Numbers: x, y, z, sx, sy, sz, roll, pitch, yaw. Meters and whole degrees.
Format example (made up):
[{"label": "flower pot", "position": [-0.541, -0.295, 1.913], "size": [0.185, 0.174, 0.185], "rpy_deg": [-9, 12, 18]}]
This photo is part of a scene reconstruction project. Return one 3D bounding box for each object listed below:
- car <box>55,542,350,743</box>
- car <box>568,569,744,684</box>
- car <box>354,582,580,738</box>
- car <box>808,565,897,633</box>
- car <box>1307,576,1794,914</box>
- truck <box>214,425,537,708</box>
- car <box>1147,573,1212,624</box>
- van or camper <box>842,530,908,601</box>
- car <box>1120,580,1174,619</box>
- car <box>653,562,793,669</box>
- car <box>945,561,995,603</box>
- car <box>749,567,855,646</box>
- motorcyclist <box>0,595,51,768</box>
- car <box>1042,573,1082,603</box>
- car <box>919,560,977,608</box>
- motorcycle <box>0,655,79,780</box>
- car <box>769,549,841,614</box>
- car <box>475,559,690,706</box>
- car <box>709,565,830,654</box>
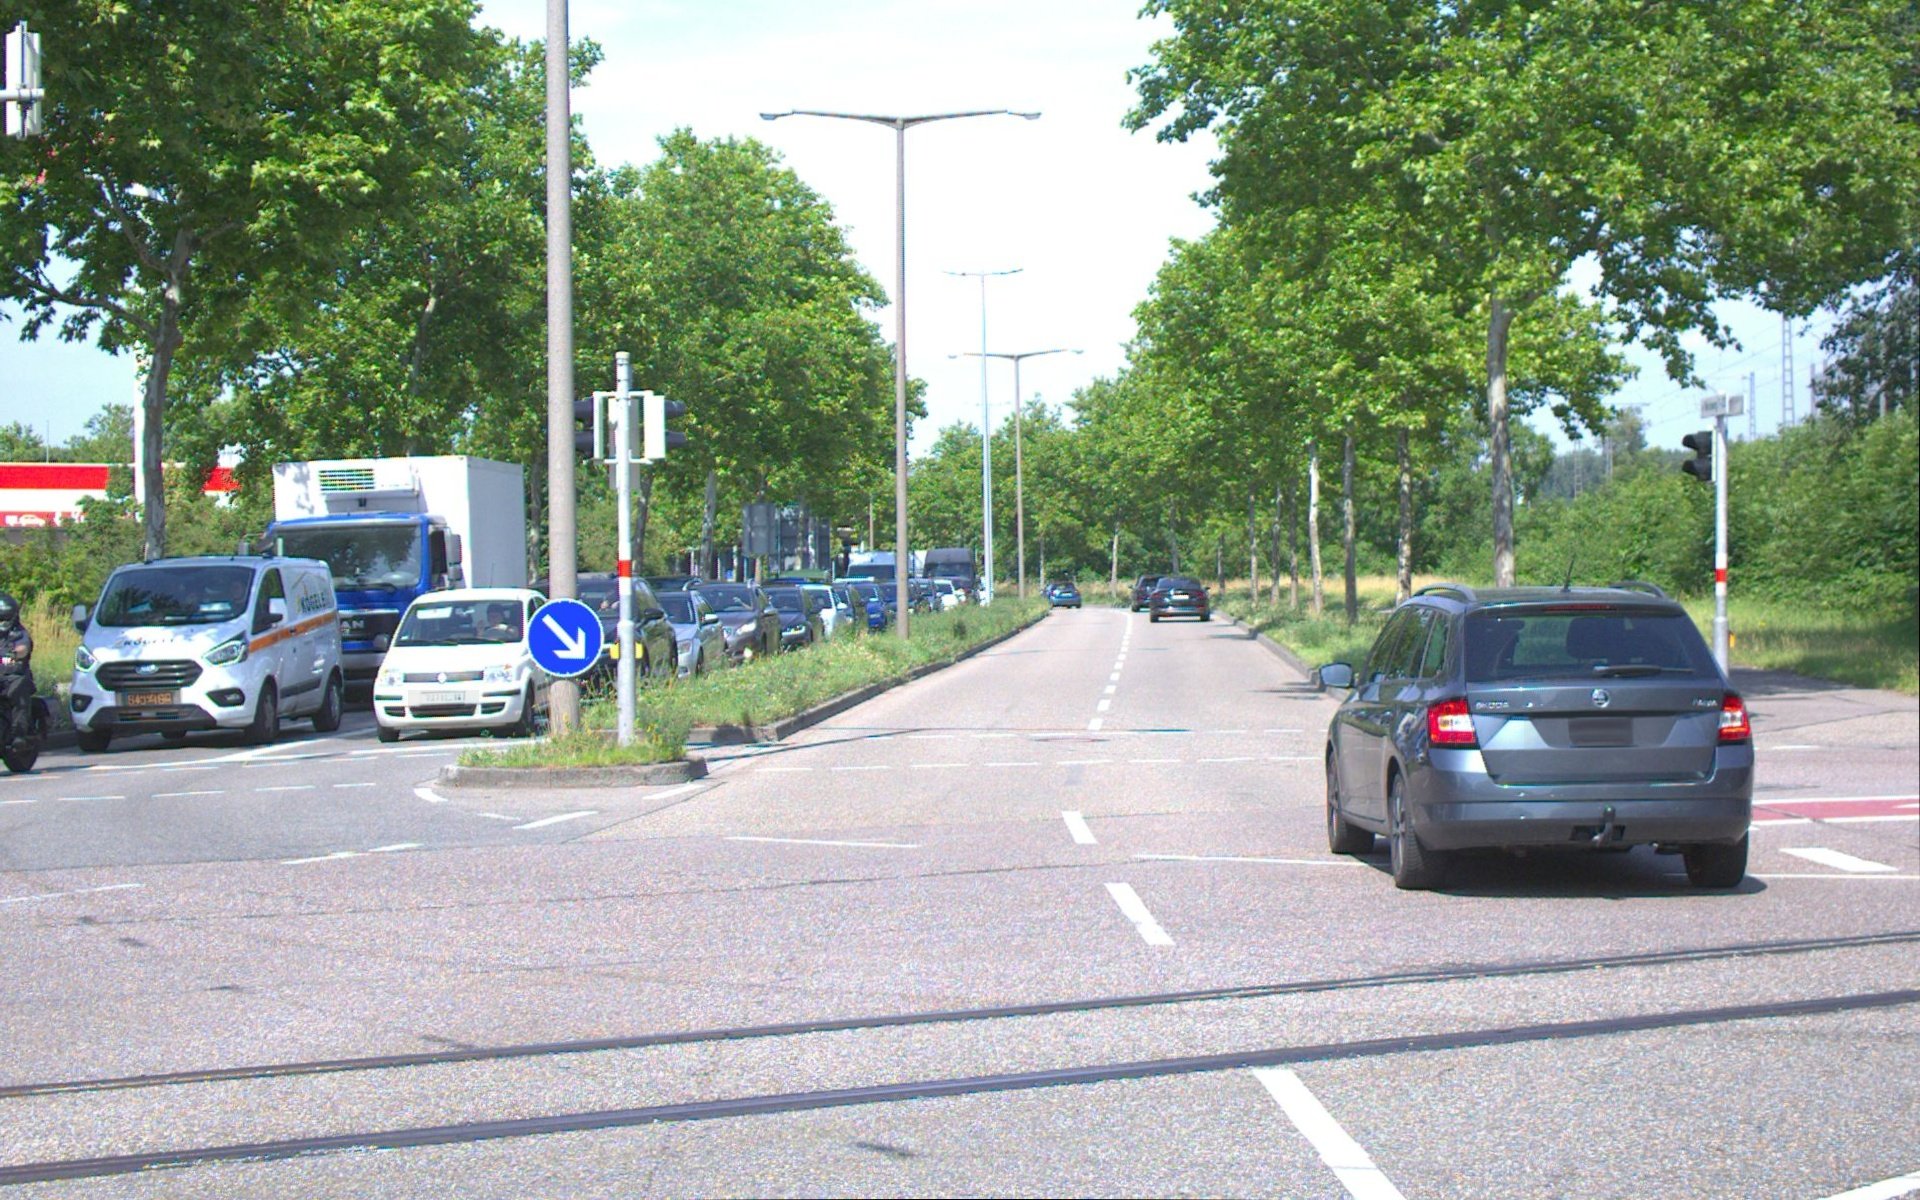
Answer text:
[{"label": "car", "position": [-7.981, 0.381, 36.701], "size": [1.976, 1.992, 5.032], "rpy_deg": [0, 1, 1]}, {"label": "car", "position": [-4.229, 0.337, 48.442], "size": [1.797, 1.463, 4.522], "rpy_deg": [-1, 1, 3]}, {"label": "car", "position": [-5.069, 0.581, 35.784], "size": [1.593, 1.472, 3.729], "rpy_deg": [-1, 1, 3]}, {"label": "car", "position": [-2.493, -0.042, 80.699], "size": [1.784, 1.484, 4.211], "rpy_deg": [-1, 1, 2]}, {"label": "car", "position": [2.862, 0.640, 17.496], "size": [1.674, 1.448, 4.036], "rpy_deg": [1, 1, -1]}, {"label": "truck", "position": [-7.768, -0.488, 46.610], "size": [2.804, 3.459, 6.691], "rpy_deg": [-2, 1, 3]}, {"label": "car", "position": [6.766, -0.055, 106.398], "size": [1.908, 1.458, 4.621], "rpy_deg": [0, 1, 2]}, {"label": "van or camper", "position": [-3.178, -1.306, 129.386], "size": [2.015, 2.579, 5.516], "rpy_deg": [-1, 1, 3]}, {"label": "car", "position": [7.556, -0.038, 139.146], "size": [1.908, 1.458, 4.582], "rpy_deg": [0, 1, 0]}, {"label": "car", "position": [-3.760, 0.213, 55.095], "size": [1.689, 1.581, 4.240], "rpy_deg": [-1, 1, 3]}, {"label": "car", "position": [0.392, -0.682, 131.293], "size": [1.689, 1.525, 3.814], "rpy_deg": [-1, 0, 3]}, {"label": "car", "position": [-3.097, 0.106, 68.018], "size": [1.689, 1.467, 3.814], "rpy_deg": [-1, 1, 3]}, {"label": "motorcyclist", "position": [-8.451, 0.698, 29.960], "size": [0.743, 1.465, 0.987], "rpy_deg": [0, 1, 3]}, {"label": "car", "position": [5.292, -0.613, 178.646], "size": [1.908, 1.458, 4.582], "rpy_deg": [0, 1, 0]}, {"label": "car", "position": [-0.373, -0.546, 114.677], "size": [1.689, 1.505, 3.814], "rpy_deg": [-1, 1, 3]}, {"label": "motorcycle", "position": [-8.379, 1.009, 30.019], "size": [0.688, 0.988, 2.217], "rpy_deg": [0, 1, 3]}, {"label": "car", "position": [-4.577, -0.552, 101.964], "size": [1.689, 1.852, 4.036], "rpy_deg": [-1, 0, 3]}, {"label": "car", "position": [-4.501, 0.374, 41.636], "size": [1.820, 1.641, 4.693], "rpy_deg": [-1, 0, 3]}, {"label": "car", "position": [-3.421, 0.145, 62.391], "size": [1.689, 1.468, 4.218], "rpy_deg": [-2, 1, 3]}]
